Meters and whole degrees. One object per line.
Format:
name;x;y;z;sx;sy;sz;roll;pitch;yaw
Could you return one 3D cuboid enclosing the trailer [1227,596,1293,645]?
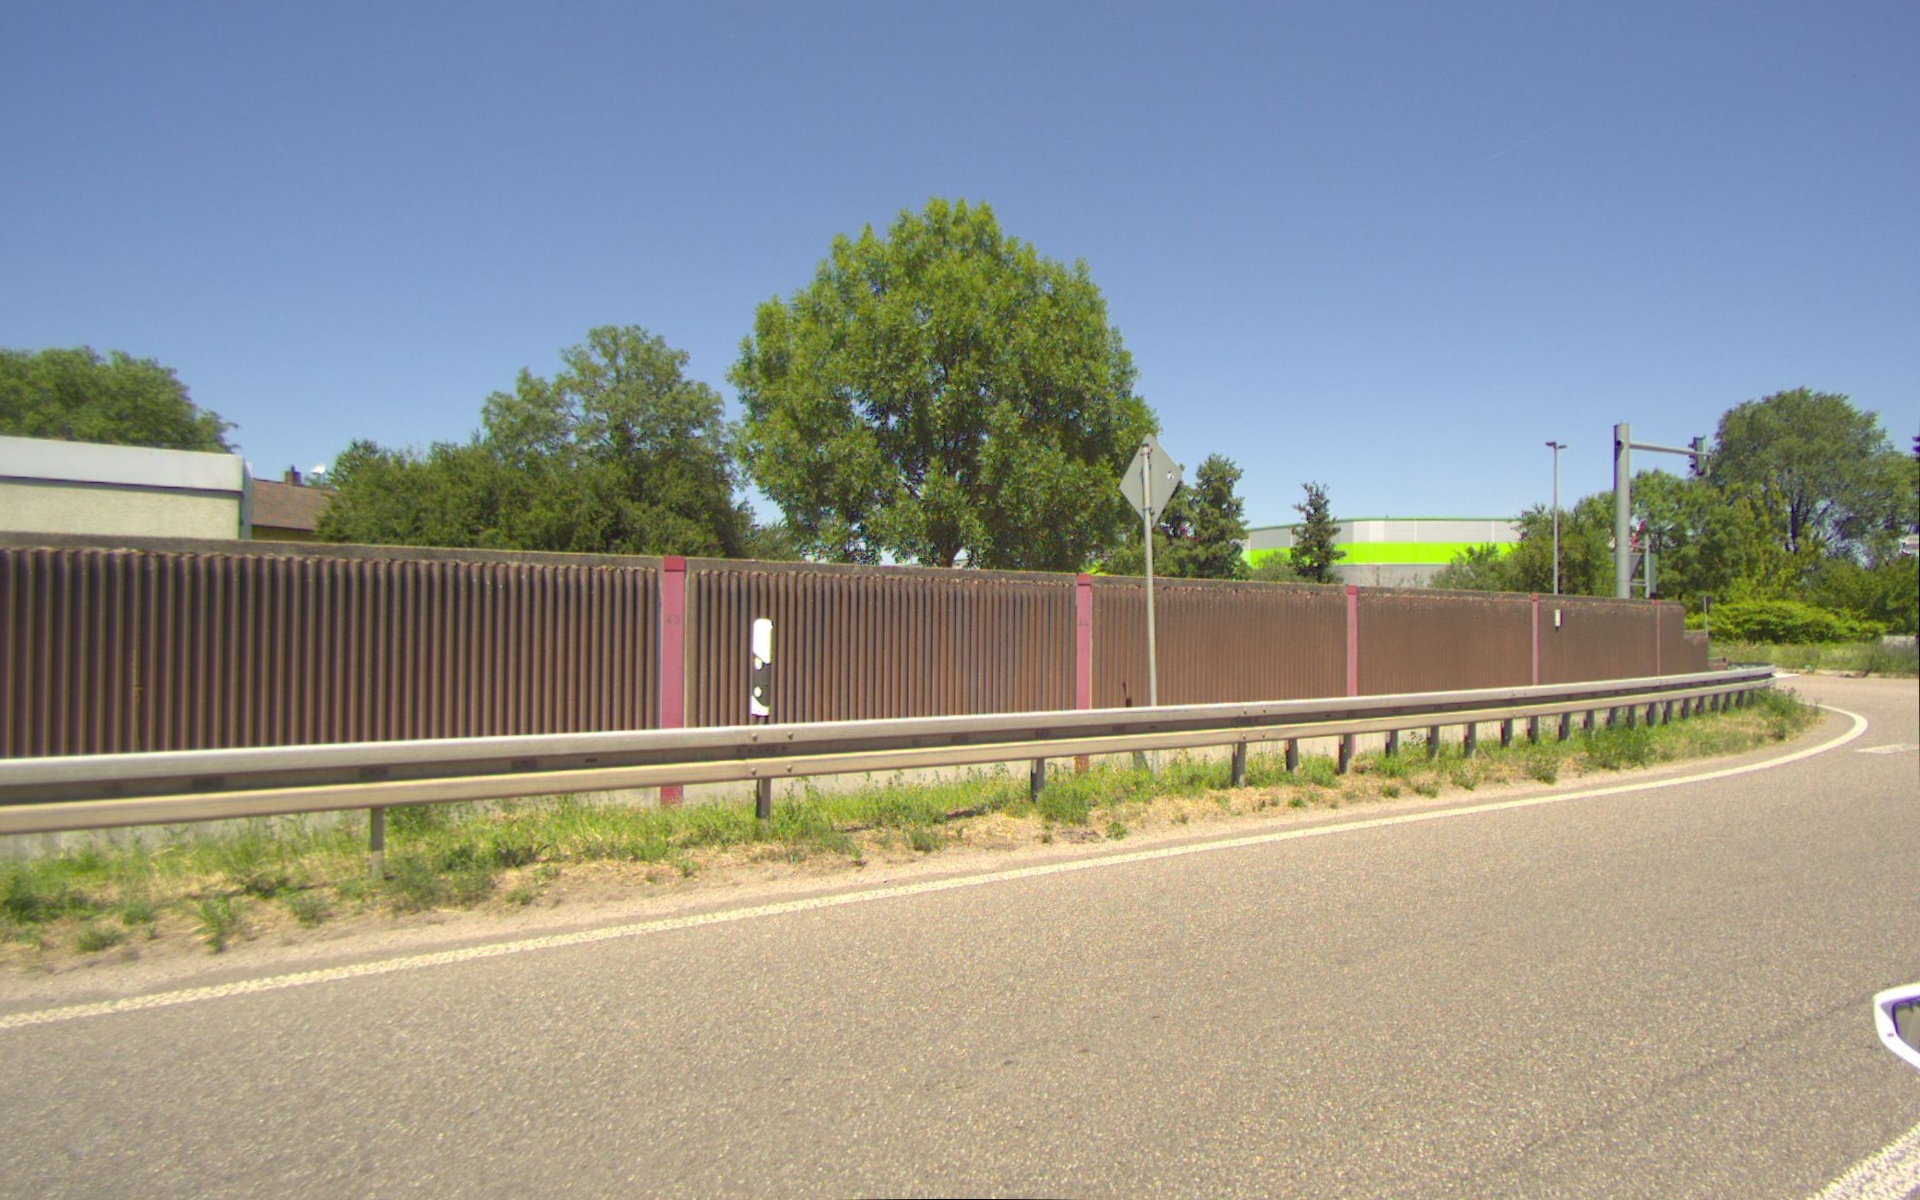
trailer;17.902;1.207;60.070;3.682;2.801;1.827;1;0;14
